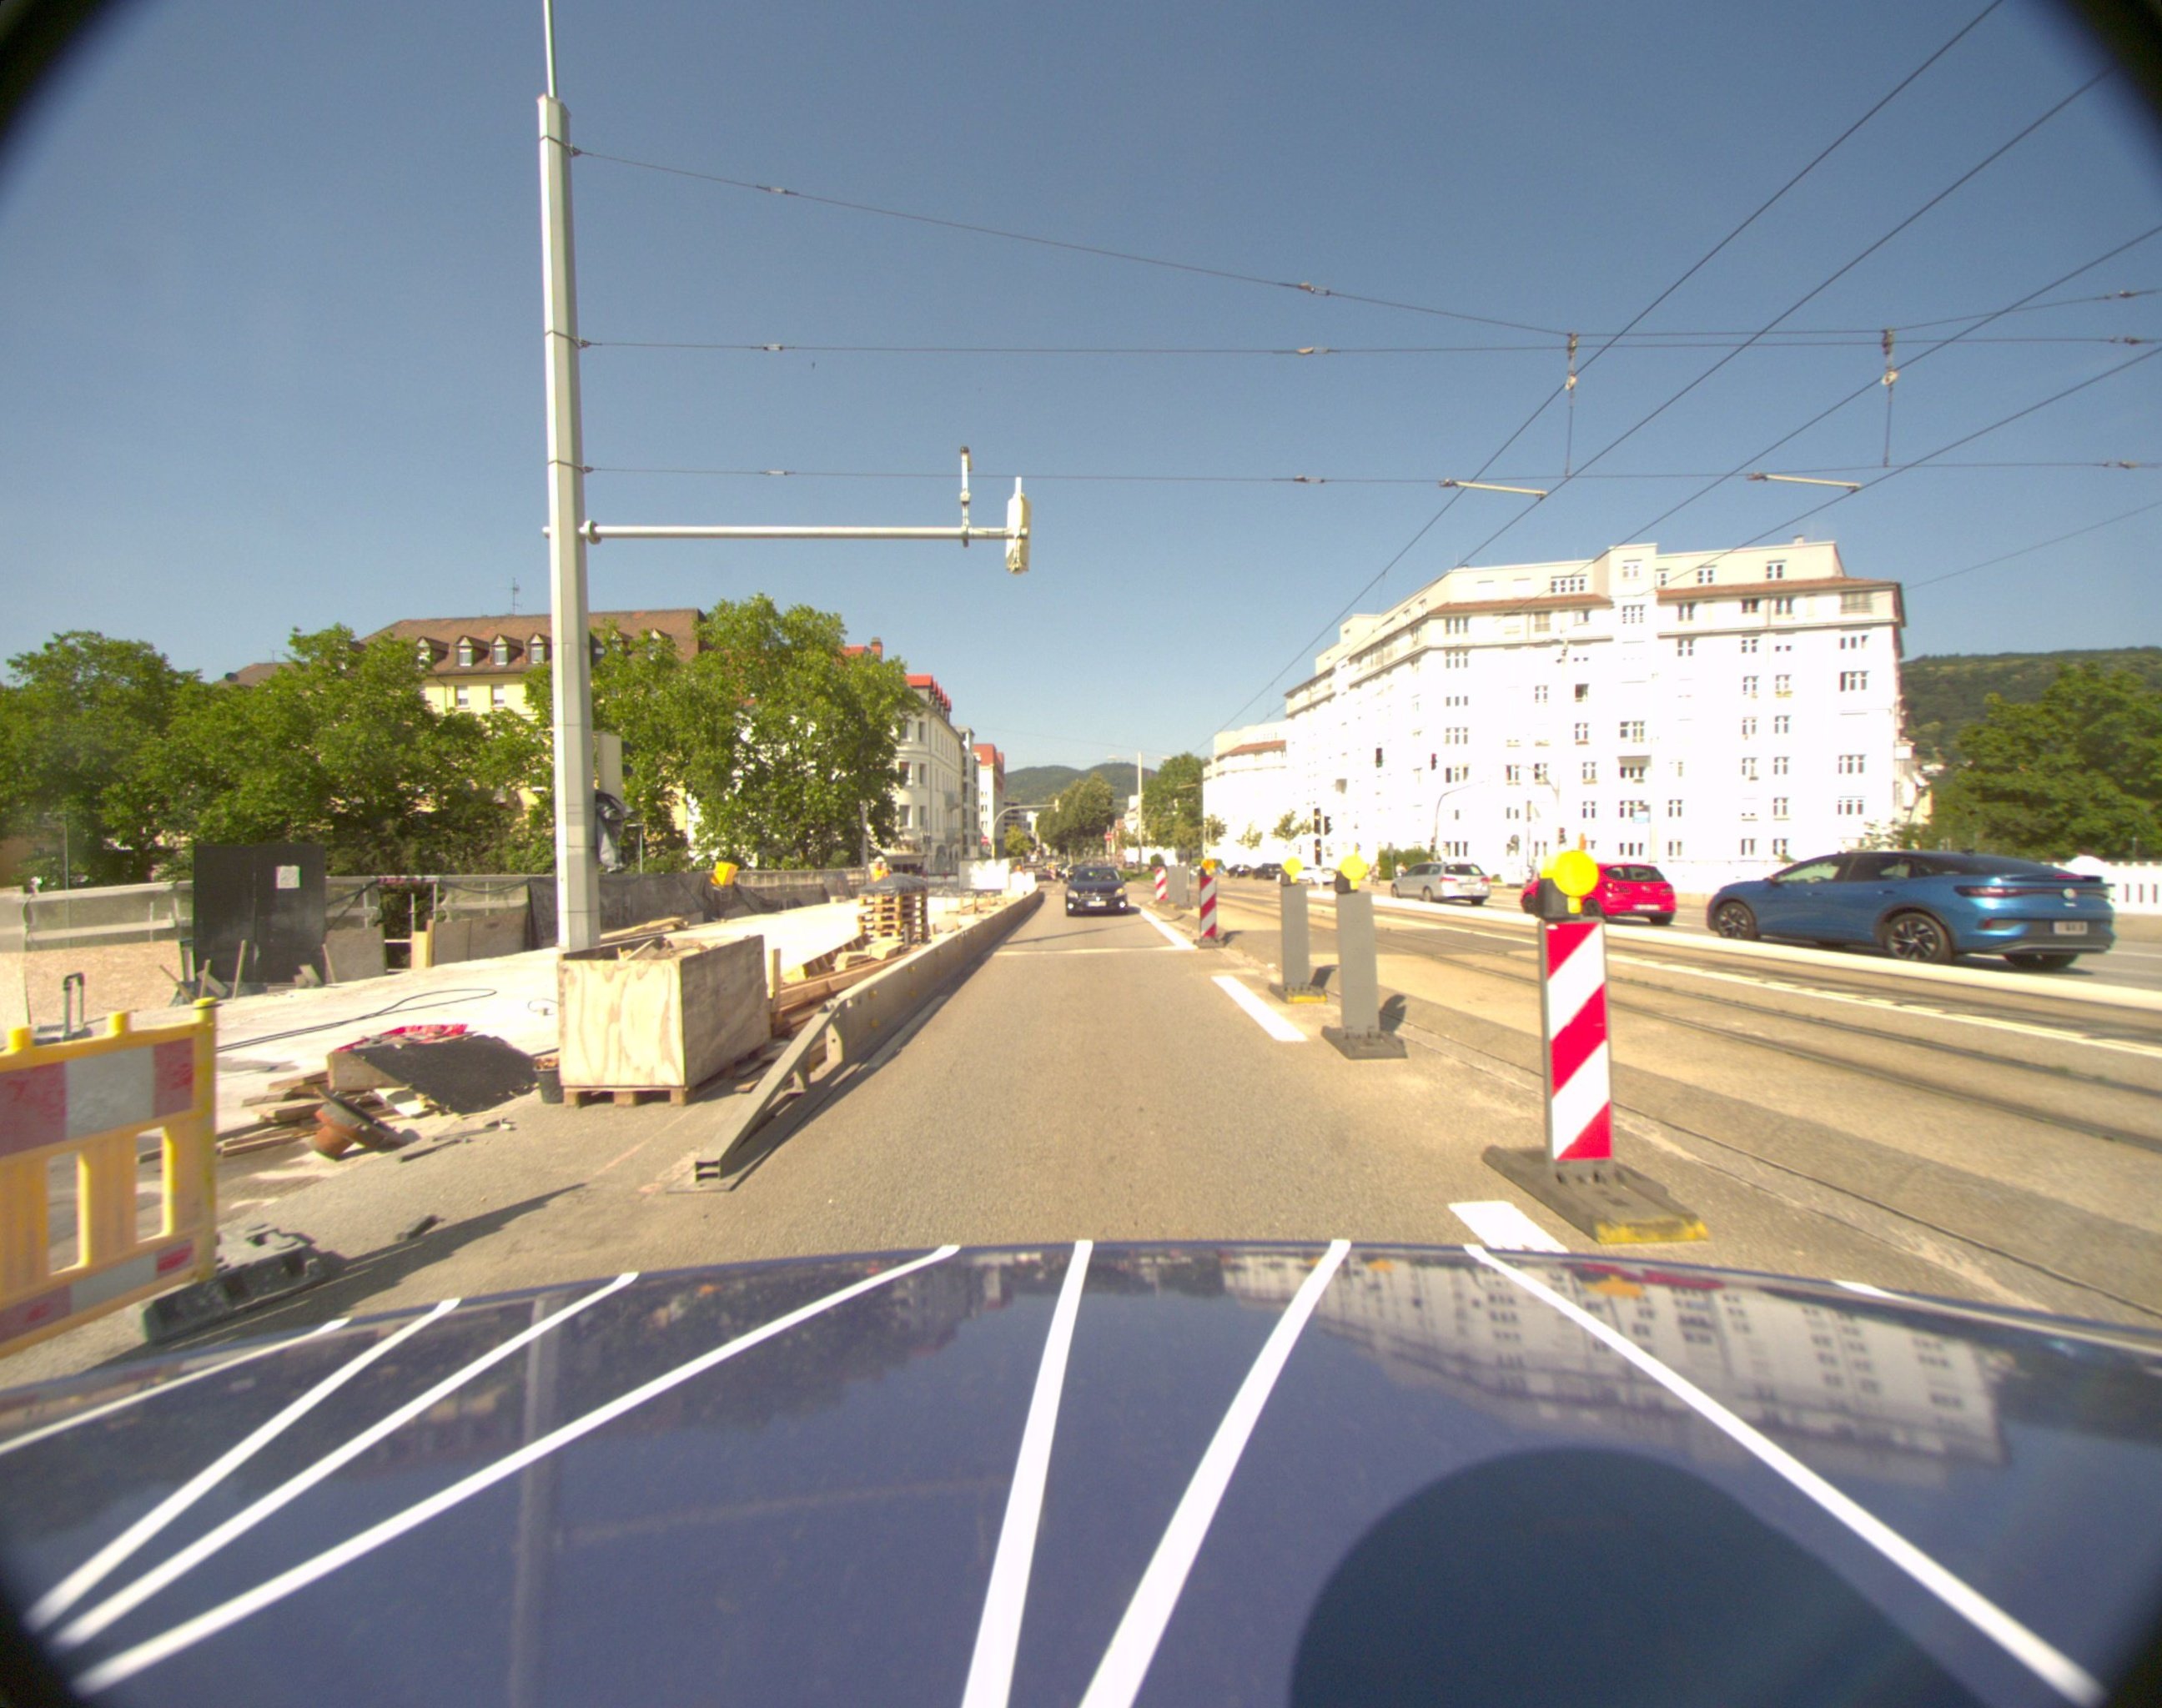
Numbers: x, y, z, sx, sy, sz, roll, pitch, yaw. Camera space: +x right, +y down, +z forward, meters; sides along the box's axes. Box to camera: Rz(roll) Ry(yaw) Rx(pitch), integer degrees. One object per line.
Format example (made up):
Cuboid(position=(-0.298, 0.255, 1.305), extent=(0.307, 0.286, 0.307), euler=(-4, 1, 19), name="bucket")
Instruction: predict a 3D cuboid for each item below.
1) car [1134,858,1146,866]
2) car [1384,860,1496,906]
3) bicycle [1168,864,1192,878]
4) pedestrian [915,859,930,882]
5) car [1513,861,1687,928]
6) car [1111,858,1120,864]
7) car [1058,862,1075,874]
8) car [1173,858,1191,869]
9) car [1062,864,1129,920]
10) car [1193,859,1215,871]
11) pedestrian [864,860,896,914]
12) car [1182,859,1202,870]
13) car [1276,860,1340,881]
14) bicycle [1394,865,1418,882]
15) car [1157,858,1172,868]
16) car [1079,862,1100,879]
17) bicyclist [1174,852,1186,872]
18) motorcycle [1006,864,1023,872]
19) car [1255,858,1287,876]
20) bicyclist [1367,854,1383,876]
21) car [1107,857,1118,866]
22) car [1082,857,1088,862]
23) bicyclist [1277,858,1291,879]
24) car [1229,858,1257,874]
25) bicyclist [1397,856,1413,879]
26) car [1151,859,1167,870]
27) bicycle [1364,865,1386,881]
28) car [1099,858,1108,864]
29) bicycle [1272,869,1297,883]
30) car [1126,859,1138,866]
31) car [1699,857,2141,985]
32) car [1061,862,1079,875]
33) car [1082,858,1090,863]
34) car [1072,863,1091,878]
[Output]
Cuboid(position=(11.179, 1.517, 143.738), extent=(1.740, 1.476, 3.739), euler=(-1, 0, -5), name="car")
Cuboid(position=(12.184, 0.924, 26.155), extent=(1.642, 1.429, 4.643), euler=(1, 0, 0), name="car")
Cuboid(position=(7.910, 1.358, 60.784), extent=(1.819, 0.985, 0.709), euler=(-2, 1, -10), name="bicycle")
Cuboid(position=(-11.650, 1.198, 55.791), extent=(1.003, 1.697, 0.822), euler=(-1, 1, -7), name="pedestrian")
Cuboid(position=(12.452, 0.907, 18.567), extent=(1.537, 1.429, 3.980), euler=(0, 0, 0), name="car")
Cuboid(position=(8.068, 1.669, 179.704), extent=(1.739, 1.476, 3.739), euler=(0, 0, -3), name="car")
Cuboid(position=(-1.818, 1.681, 92.812), extent=(1.768, 1.346, 3.998), euler=(-2, 0, -6), name="car")
Cuboid(position=(14.200, 1.339, 107.022), extent=(1.740, 1.476, 3.739), euler=(-1, 0, -5), name="car")
Cuboid(position=(0.509, 1.034, 22.236), extent=(1.702, 1.399, 4.624), euler=(-2, -1, 3), name="car")
Cuboid(position=(14.876, 1.315, 91.741), extent=(1.740, 1.476, 3.739), euler=(-1, 0, -5), name="car")
Cuboid(position=(-6.815, 1.108, 25.798), extent=(0.821, 1.784, 0.864), euler=(1, 0, -1), name="pedestrian")
Cuboid(position=(14.615, 1.349, 99.947), extent=(1.740, 1.476, 3.739), euler=(-1, 0, -5), name="car")
Cuboid(position=(16.392, 1.169, 55.039), extent=(1.705, 1.403, 4.475), euler=(1, -1, -32), name="car")
Cuboid(position=(22.333, 1.345, 52.259), extent=(0.628, 1.093, 1.785), euler=(-2, 0, -8), name="bicycle")
Cuboid(position=(13.173, 1.443, 120.233), extent=(1.740, 1.476, 3.739), euler=(-1, 0, -5), name="car")
Cuboid(position=(0.737, 1.403, 65.652), extent=(1.766, 1.313, 4.000), euler=(-2, 0, 1), name="car")
Cuboid(position=(7.896, 0.645, 60.707), extent=(0.784, 1.542, 0.709), euler=(-2, 4, -10), name="bicyclist")
Cuboid(position=(-9.288, 1.937, 105.988), extent=(2.177, 1.159, 0.744), euler=(-1, 0, 1), name="motorcycle")
Cuboid(position=(17.653, 1.175, 70.657), extent=(1.740, 1.628, 3.739), euler=(-1, 0, -5), name="car")
Cuboid(position=(21.119, 0.774, 54.603), extent=(0.624, 1.580, 0.917), euler=(-2, 1, -8), name="bicyclist")
Cuboid(position=(5.756, 1.407, 138.320), extent=(1.696, 1.547, 3.655), euler=(0, 0, -3), name="car")
Cuboid(position=(1.293, 1.678, 239.141), extent=(1.798, 1.672, 3.739), euler=(-1, 0, -3), name="car")
Cuboid(position=(16.497, 1.196, 61.792), extent=(1.008, 1.643, 0.810), euler=(-3, -2, 15), name="bicyclist")
Cuboid(position=(16.806, 1.227, 79.091), extent=(1.740, 1.628, 3.738), euler=(-1, 0, -7), name="car")
Cuboid(position=(22.318, 0.905, 52.326), extent=(0.624, 1.570, 0.917), euler=(-2, 1, -8), name="bicyclist")
Cuboid(position=(10.946, 1.467, 106.994), extent=(1.594, 1.484, 3.661), euler=(0, 0, -4), name="car")
Cuboid(position=(21.132, 1.381, 54.616), extent=(0.618, 1.093, 1.785), euler=(-2, 0, -8), name="bicycle")
Cuboid(position=(5.608, 1.715, 189.025), extent=(1.798, 1.476, 3.739), euler=(-1, 0, -3), name="car")
Cuboid(position=(16.520, 1.778, 61.779), extent=(1.909, 1.014, 0.823), euler=(-3, -2, 15), name="bicycle")
Cuboid(position=(10.119, 1.659, 151.558), extent=(1.740, 1.476, 3.739), euler=(-1, 0, -5), name="car")
Cuboid(position=(12.040, 0.827, 11.506), extent=(1.674, 1.541, 4.556), euler=(0, 0, 0), name="car")
Cuboid(position=(-1.256, 1.588, 85.358), extent=(1.767, 1.346, 3.999), euler=(-2, 0, -4), name="car")
Cuboid(position=(1.352, 1.697, 200.250), extent=(1.798, 1.476, 3.739), euler=(-1, 0, -3), name="car")
Cuboid(position=(0.012, 1.556, 72.869), extent=(1.767, 1.346, 4.000), euler=(-2, 0, -1), name="car")
